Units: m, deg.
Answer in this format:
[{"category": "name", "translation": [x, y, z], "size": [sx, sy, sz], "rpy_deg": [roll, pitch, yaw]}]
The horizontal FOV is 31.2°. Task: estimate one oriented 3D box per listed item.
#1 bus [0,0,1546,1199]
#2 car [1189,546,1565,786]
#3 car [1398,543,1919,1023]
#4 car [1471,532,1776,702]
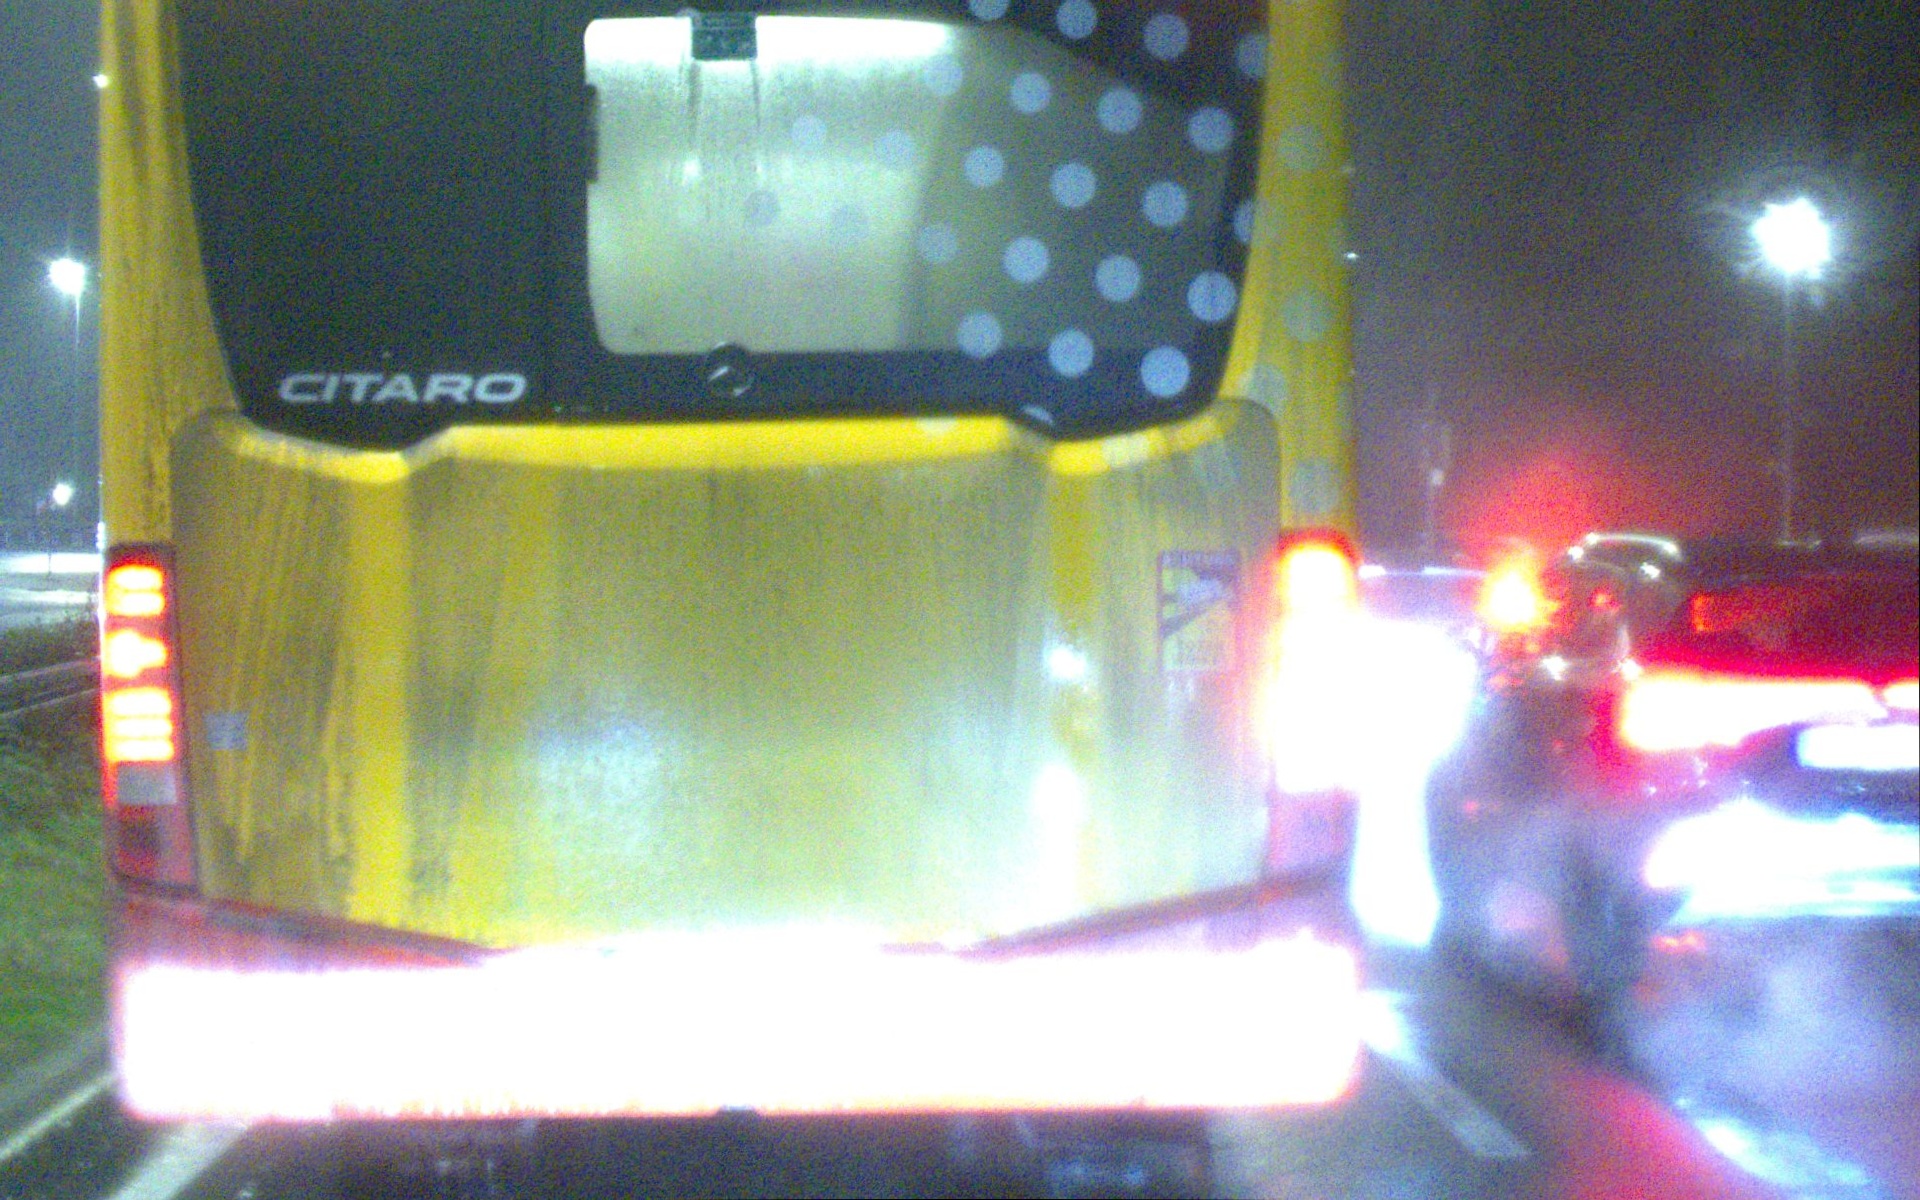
[{"category": "bus", "translation": [-0.742, -0.303, 11.135], "size": [3.285, 3.039, 9.546], "rpy_deg": [-1, 2, -2]}, {"category": "car", "translation": [2.513, 0.367, 21.605], "size": [1.686, 1.326, 3.961], "rpy_deg": [-1, 0, -3]}, {"category": "car", "translation": [2.850, 0.573, 12.937], "size": [1.677, 1.516, 3.961], "rpy_deg": [1, 0, -3]}, {"category": "car", "translation": [6.424, 0.135, 33.760], "size": [1.993, 1.475, 4.339], "rpy_deg": [3, 0, -1]}]
